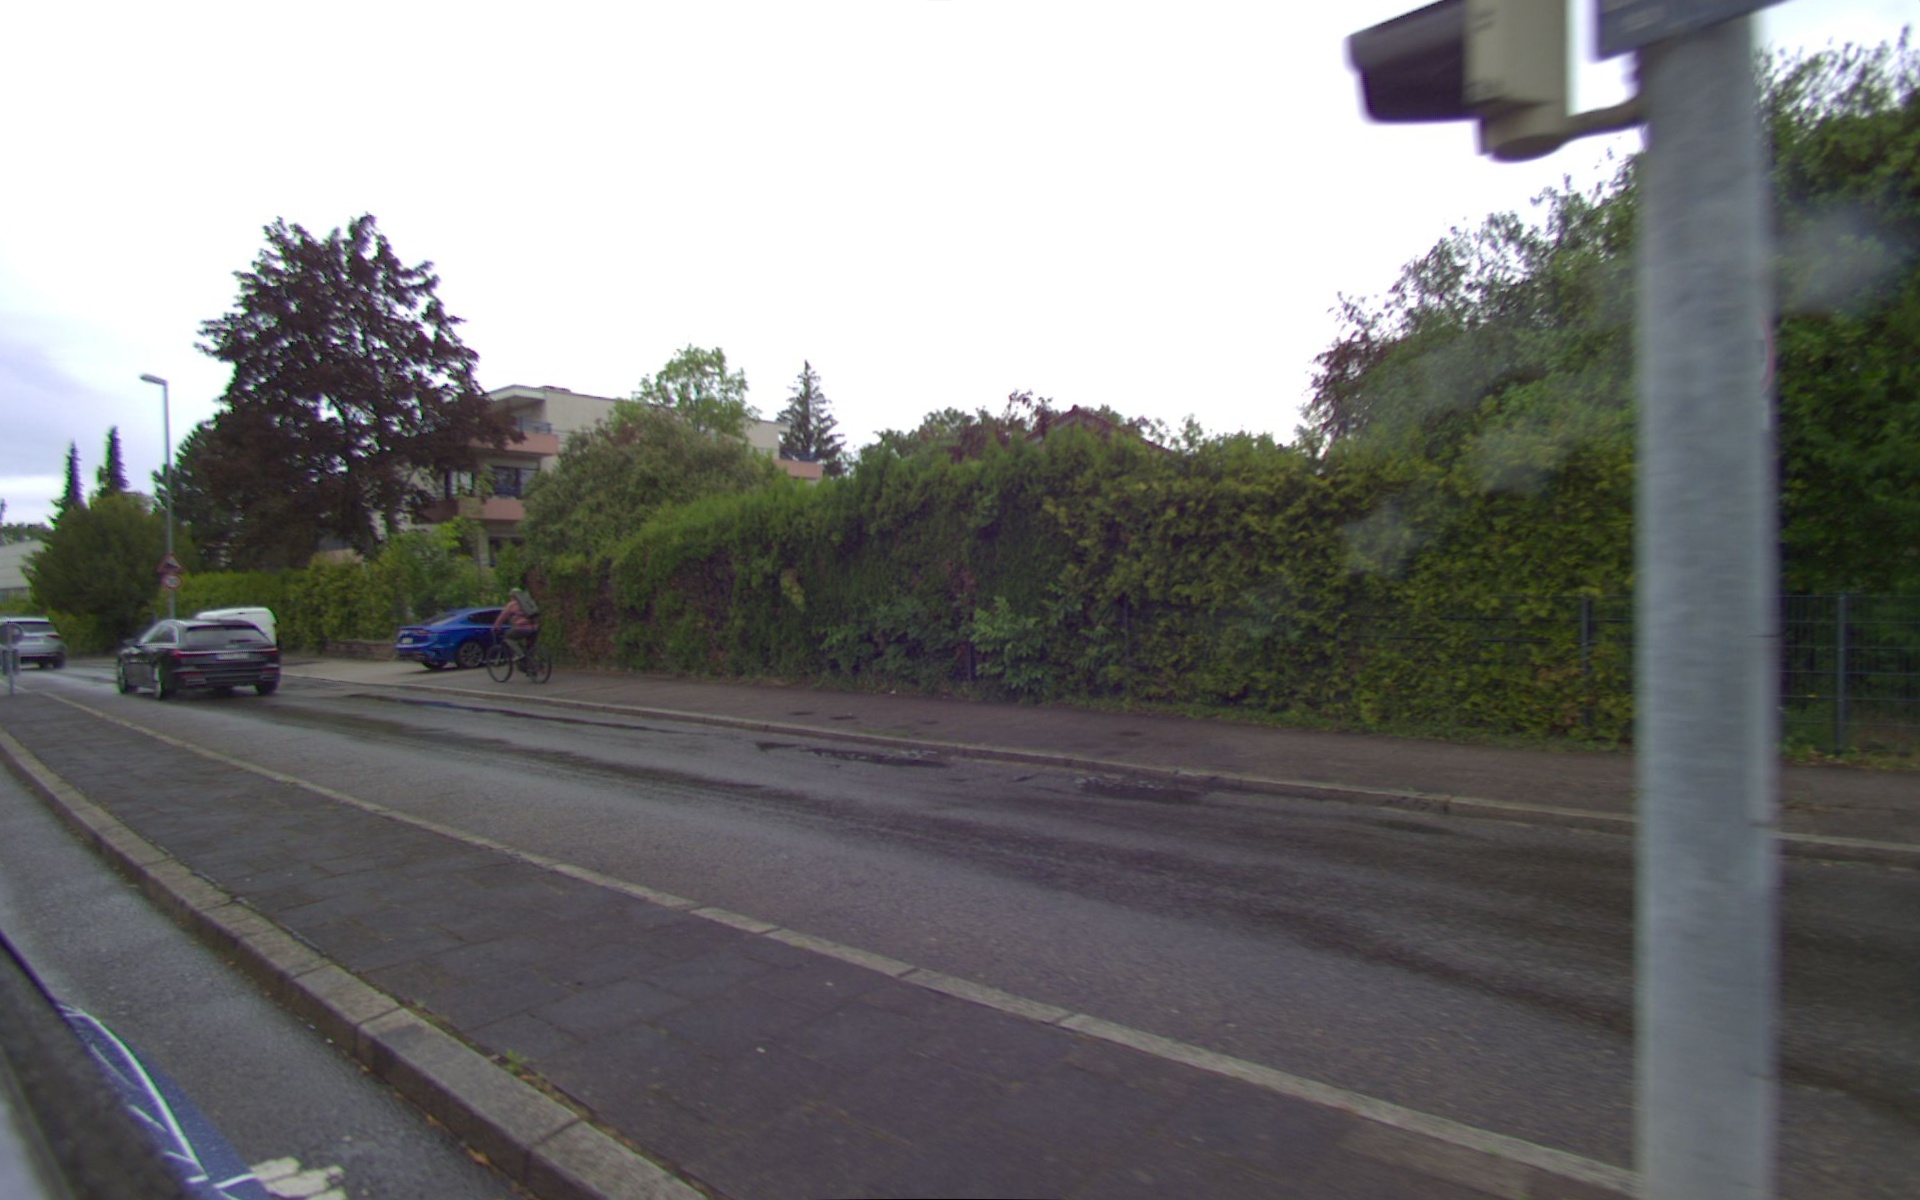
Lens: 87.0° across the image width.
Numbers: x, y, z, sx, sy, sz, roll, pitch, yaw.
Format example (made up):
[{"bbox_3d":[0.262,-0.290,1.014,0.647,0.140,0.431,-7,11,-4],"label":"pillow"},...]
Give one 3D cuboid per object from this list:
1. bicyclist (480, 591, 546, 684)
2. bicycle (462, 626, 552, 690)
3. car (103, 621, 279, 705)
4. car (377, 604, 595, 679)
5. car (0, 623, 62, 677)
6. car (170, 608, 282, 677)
[{"bbox_3d":[-8.177,0.668,18.519,0.868,1.624,0.756,-2,1,42],"label":"bicyclist"},{"bbox_3d":[-8.426,1.045,18.783,1.989,1.094,0.739,-1,2,42],"label":"bicycle"},{"bbox_3d":[-15.072,1.152,19.751,4.552,1.448,1.720,-1,-1,39],"label":"car"},{"bbox_3d":[-11.427,0.972,24.705,1.802,1.372,4.443,-4,1,36],"label":"car"},{"bbox_3d":[-32.672,1.717,34.793,4.477,1.729,2.021,-3,-2,39],"label":"car"},{"bbox_3d":[-21.524,1.239,29.645,3.976,1.720,1.684,-3,3,41],"label":"car"}]
